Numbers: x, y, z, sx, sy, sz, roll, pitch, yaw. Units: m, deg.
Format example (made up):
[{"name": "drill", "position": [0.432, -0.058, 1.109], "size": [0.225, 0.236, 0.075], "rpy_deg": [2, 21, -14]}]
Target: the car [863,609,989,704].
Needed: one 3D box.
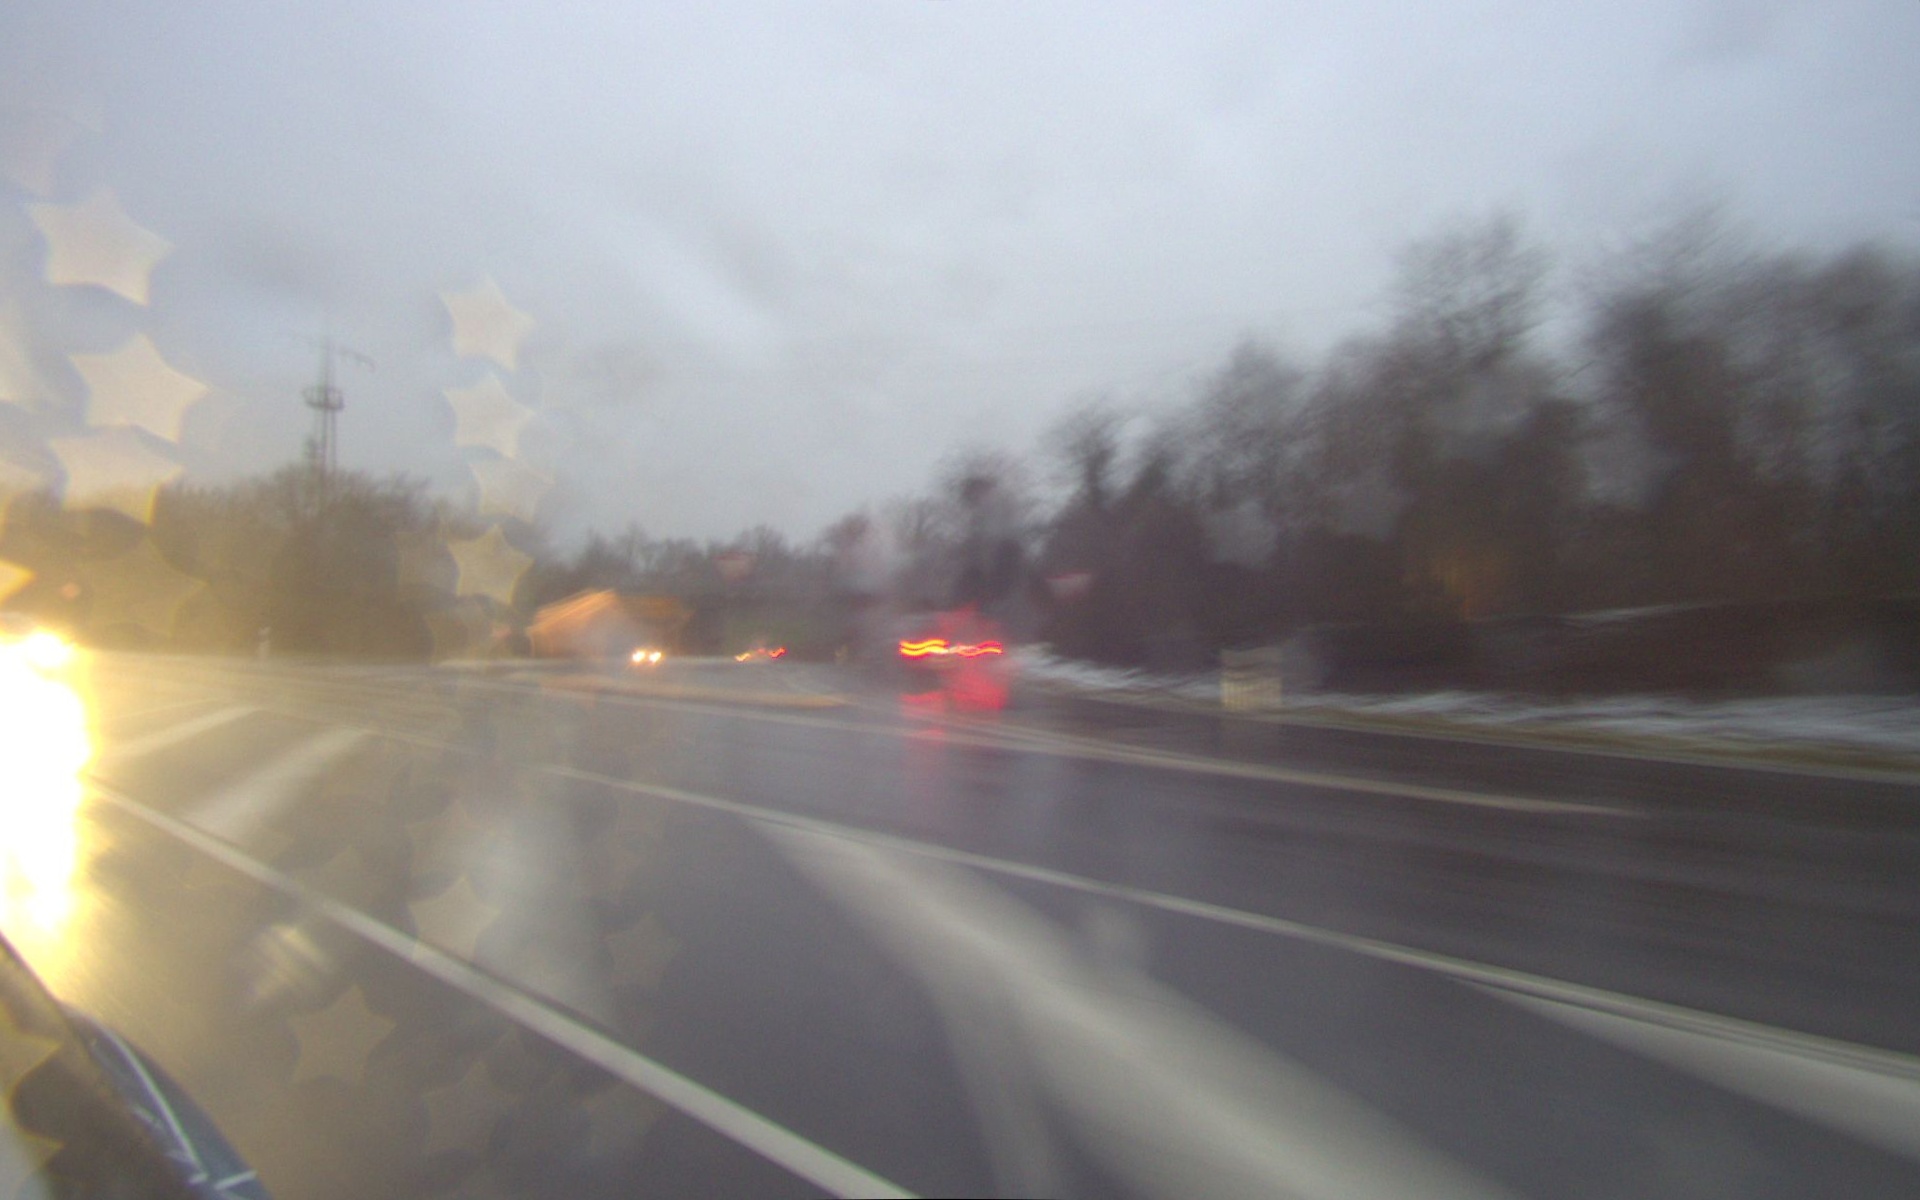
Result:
[{"name": "car", "position": [-0.929, 1.246, 24.305], "size": [1.812, 1.984, 4.372], "rpy_deg": [-1, 0, -19]}]

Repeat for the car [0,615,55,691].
[{"name": "car", "position": [-22.660, 1.192, 23.574], "size": [4.213, 1.639, 1.696], "rpy_deg": [-1, -1, 39]}]

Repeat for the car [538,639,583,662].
[{"name": "car", "position": [-35.539, 4.479, 89.914], "size": [4.813, 1.769, 1.929], "rpy_deg": [0, 2, 44]}]

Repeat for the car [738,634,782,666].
[{"name": "car", "position": [-13.340, 3.276, 67.193], "size": [1.923, 1.769, 4.827], "rpy_deg": [-2, 1, -23]}]

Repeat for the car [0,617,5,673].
[{"name": "car", "position": [-29.220, 1.280, 29.049], "size": [4.511, 1.567, 1.986], "rpy_deg": [0, 0, 38]}]

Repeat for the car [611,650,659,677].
[{"name": "car", "position": [-25.433, 4.950, 79.186], "size": [1.926, 1.769, 4.820], "rpy_deg": [-2, 1, -39]}]

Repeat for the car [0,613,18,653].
[{"name": "car", "position": [-41.180, 1.387, 42.449], "size": [4.568, 1.629, 1.805], "rpy_deg": [-1, -1, 39]}]
